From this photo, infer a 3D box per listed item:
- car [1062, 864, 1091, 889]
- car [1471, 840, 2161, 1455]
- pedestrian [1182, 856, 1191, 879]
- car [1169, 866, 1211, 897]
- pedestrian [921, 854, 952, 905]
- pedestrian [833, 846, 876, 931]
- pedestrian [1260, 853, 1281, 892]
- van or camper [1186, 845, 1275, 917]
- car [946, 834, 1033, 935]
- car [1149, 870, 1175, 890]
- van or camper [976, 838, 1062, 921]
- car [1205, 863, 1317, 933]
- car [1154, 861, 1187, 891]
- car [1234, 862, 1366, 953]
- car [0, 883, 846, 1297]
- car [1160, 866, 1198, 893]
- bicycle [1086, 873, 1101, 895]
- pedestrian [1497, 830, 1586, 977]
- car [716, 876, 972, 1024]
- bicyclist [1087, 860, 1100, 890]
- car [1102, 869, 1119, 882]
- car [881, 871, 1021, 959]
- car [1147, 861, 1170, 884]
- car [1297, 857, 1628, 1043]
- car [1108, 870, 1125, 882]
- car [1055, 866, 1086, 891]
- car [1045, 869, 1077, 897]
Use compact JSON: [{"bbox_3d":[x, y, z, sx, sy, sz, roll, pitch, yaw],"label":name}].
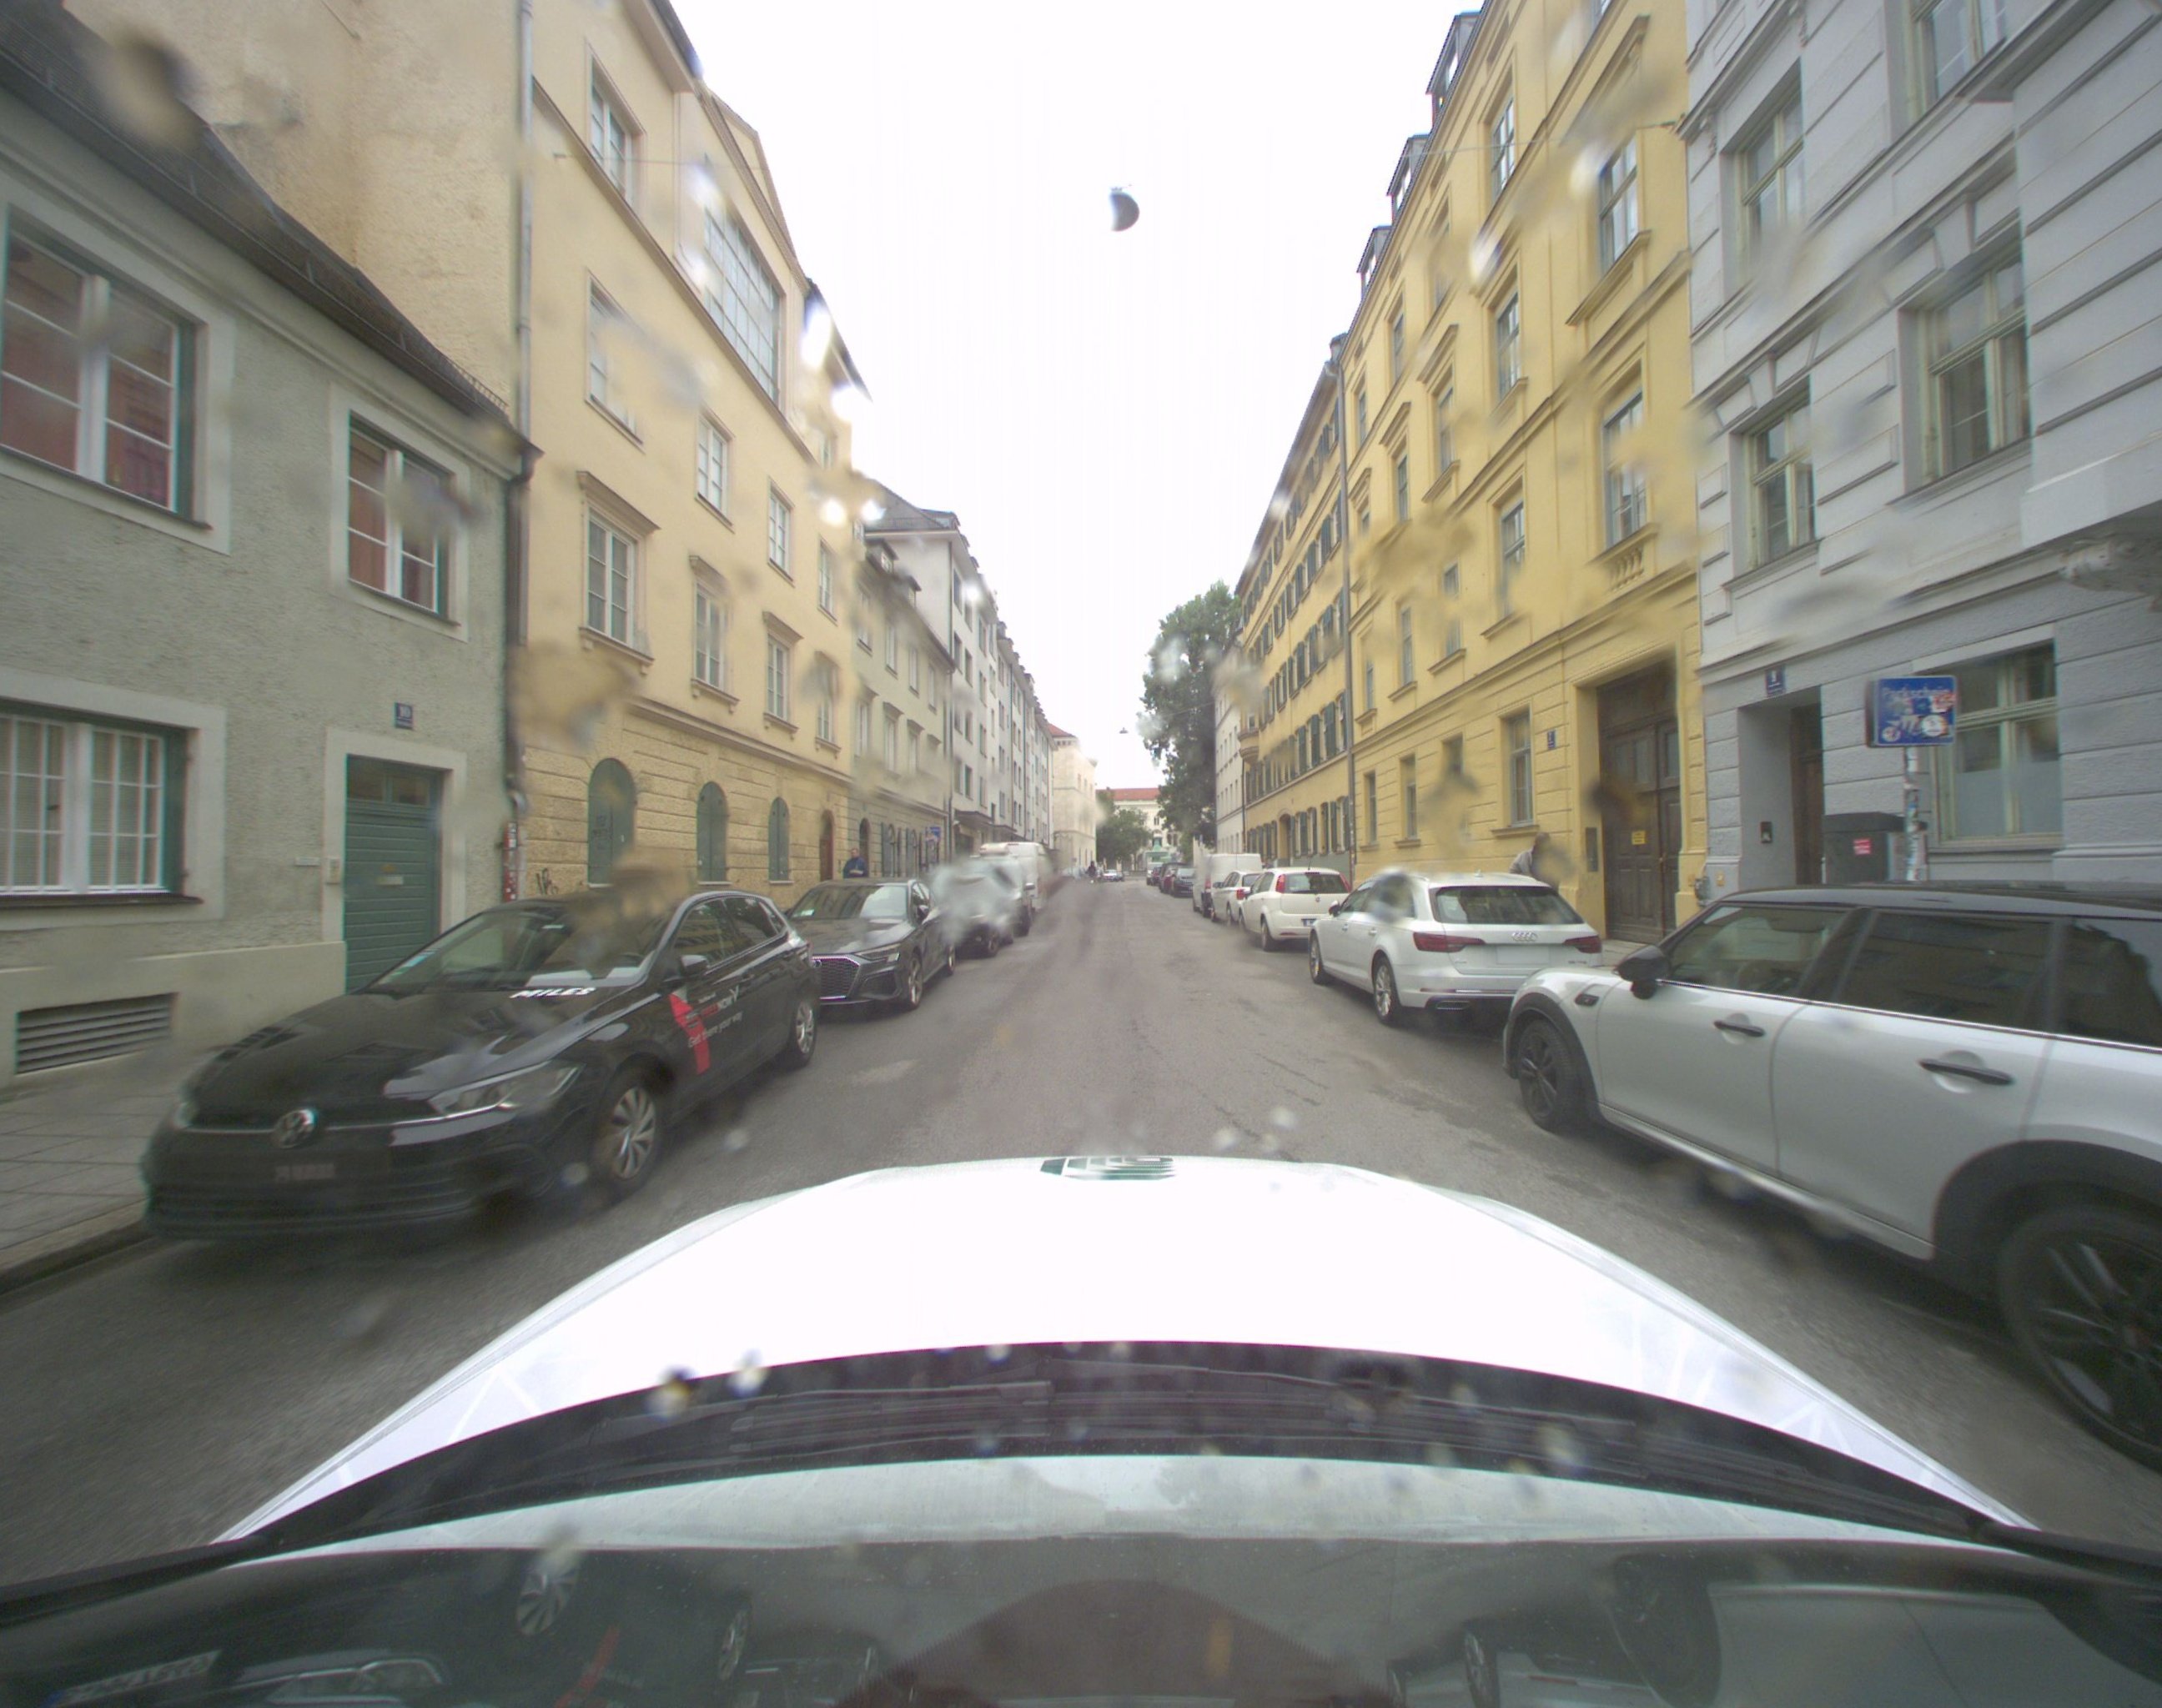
[{"bbox_3d":[-0.289,1.618,59.657,1.865,1.688,4.522,-2,-1,2],"label":"car"},{"bbox_3d":[3.483,0.734,3.454,1.712,1.510,3.934,-1,-1,-1],"label":"car"},{"bbox_3d":[9.966,1.263,76.865,0.790,2.198,0.814,0,-1,2],"label":"pedestrian"},{"bbox_3d":[5.324,1.321,40.205,1.738,1.464,4.003,-1,-1,3],"label":"car"},{"bbox_3d":[-4.957,0.881,28.001,0.802,1.712,1.022,-1,-1,4],"label":"pedestrian"},{"bbox_3d":[-5.496,0.831,19.788,0.802,2.014,0.751,-1,-1,4],"label":"pedestrian"},{"bbox_3d":[8.068,0.783,34.768,0.595,1.639,0.896,-4,-1,0],"label":"pedestrian"},{"bbox_3d":[4.578,0.803,25.771,1.986,2.014,5.234,-1,-1,2],"label":"van or camper"},{"bbox_3d":[-2.137,0.710,20.171,1.853,2.201,4.556,0,-1,-3],"label":"car"},{"bbox_3d":[6.611,2.124,66.569,1.801,1.600,4.215,0,-1,1],"label":"car"},{"bbox_3d":[-1.811,0.760,25.709,1.985,2.311,5.482,-1,-1,3],"label":"van or camper"},{"bbox_3d":[4.338,1.012,20.344,1.809,1.510,4.587,-1,-1,1],"label":"car"},{"bbox_3d":[5.695,1.400,52.225,1.838,1.777,4.204,1,-2,3],"label":"car"},{"bbox_3d":[4.043,0.935,15.603,1.617,1.510,3.763,-1,-1,2],"label":"car"},{"bbox_3d":[-2.999,0.923,5.096,1.852,1.401,4.267,0,-1,-1],"label":"car"},{"bbox_3d":[5.432,1.401,45.725,1.707,1.424,4.458,-1,-1,2],"label":"car"},{"bbox_3d":[0.685,1.581,43.827,0.729,1.151,2.000,0,-1,2],"label":"bicycle"},{"bbox_3d":[6.037,0.630,10.710,0.699,1.862,0.805,0,-1,0],"label":"pedestrian"},{"bbox_3d":[-2.608,0.998,10.140,1.851,1.401,4.270,0,-1,1],"label":"car"},{"bbox_3d":[0.671,1.116,43.926,0.684,1.627,0.853,0,-1,1],"label":"bicyclist"},{"bbox_3d":[3.737,2.692,101.997,1.769,1.535,4.219,-2,-2,7],"label":"car"},{"bbox_3d":[-2.264,1.030,15.309,1.851,1.401,4.270,0,-1,1],"label":"car"},{"bbox_3d":[6.875,1.617,72.466,1.873,1.924,4.880,-1,-1,5],"label":"car"},{"bbox_3d":[3.727,0.823,8.942,1.710,1.510,4.472,-1,-1,3],"label":"car"},{"bbox_3d":[4.761,2.938,108.322,1.689,1.393,4.221,-2,-2,8],"label":"car"},{"bbox_3d":[-0.668,1.603,54.041,1.766,1.539,4.161,-2,-1,2],"label":"car"},{"bbox_3d":[-1.069,1.524,43.928,1.634,1.354,4.056,-2,-1,-2],"label":"car"}]
